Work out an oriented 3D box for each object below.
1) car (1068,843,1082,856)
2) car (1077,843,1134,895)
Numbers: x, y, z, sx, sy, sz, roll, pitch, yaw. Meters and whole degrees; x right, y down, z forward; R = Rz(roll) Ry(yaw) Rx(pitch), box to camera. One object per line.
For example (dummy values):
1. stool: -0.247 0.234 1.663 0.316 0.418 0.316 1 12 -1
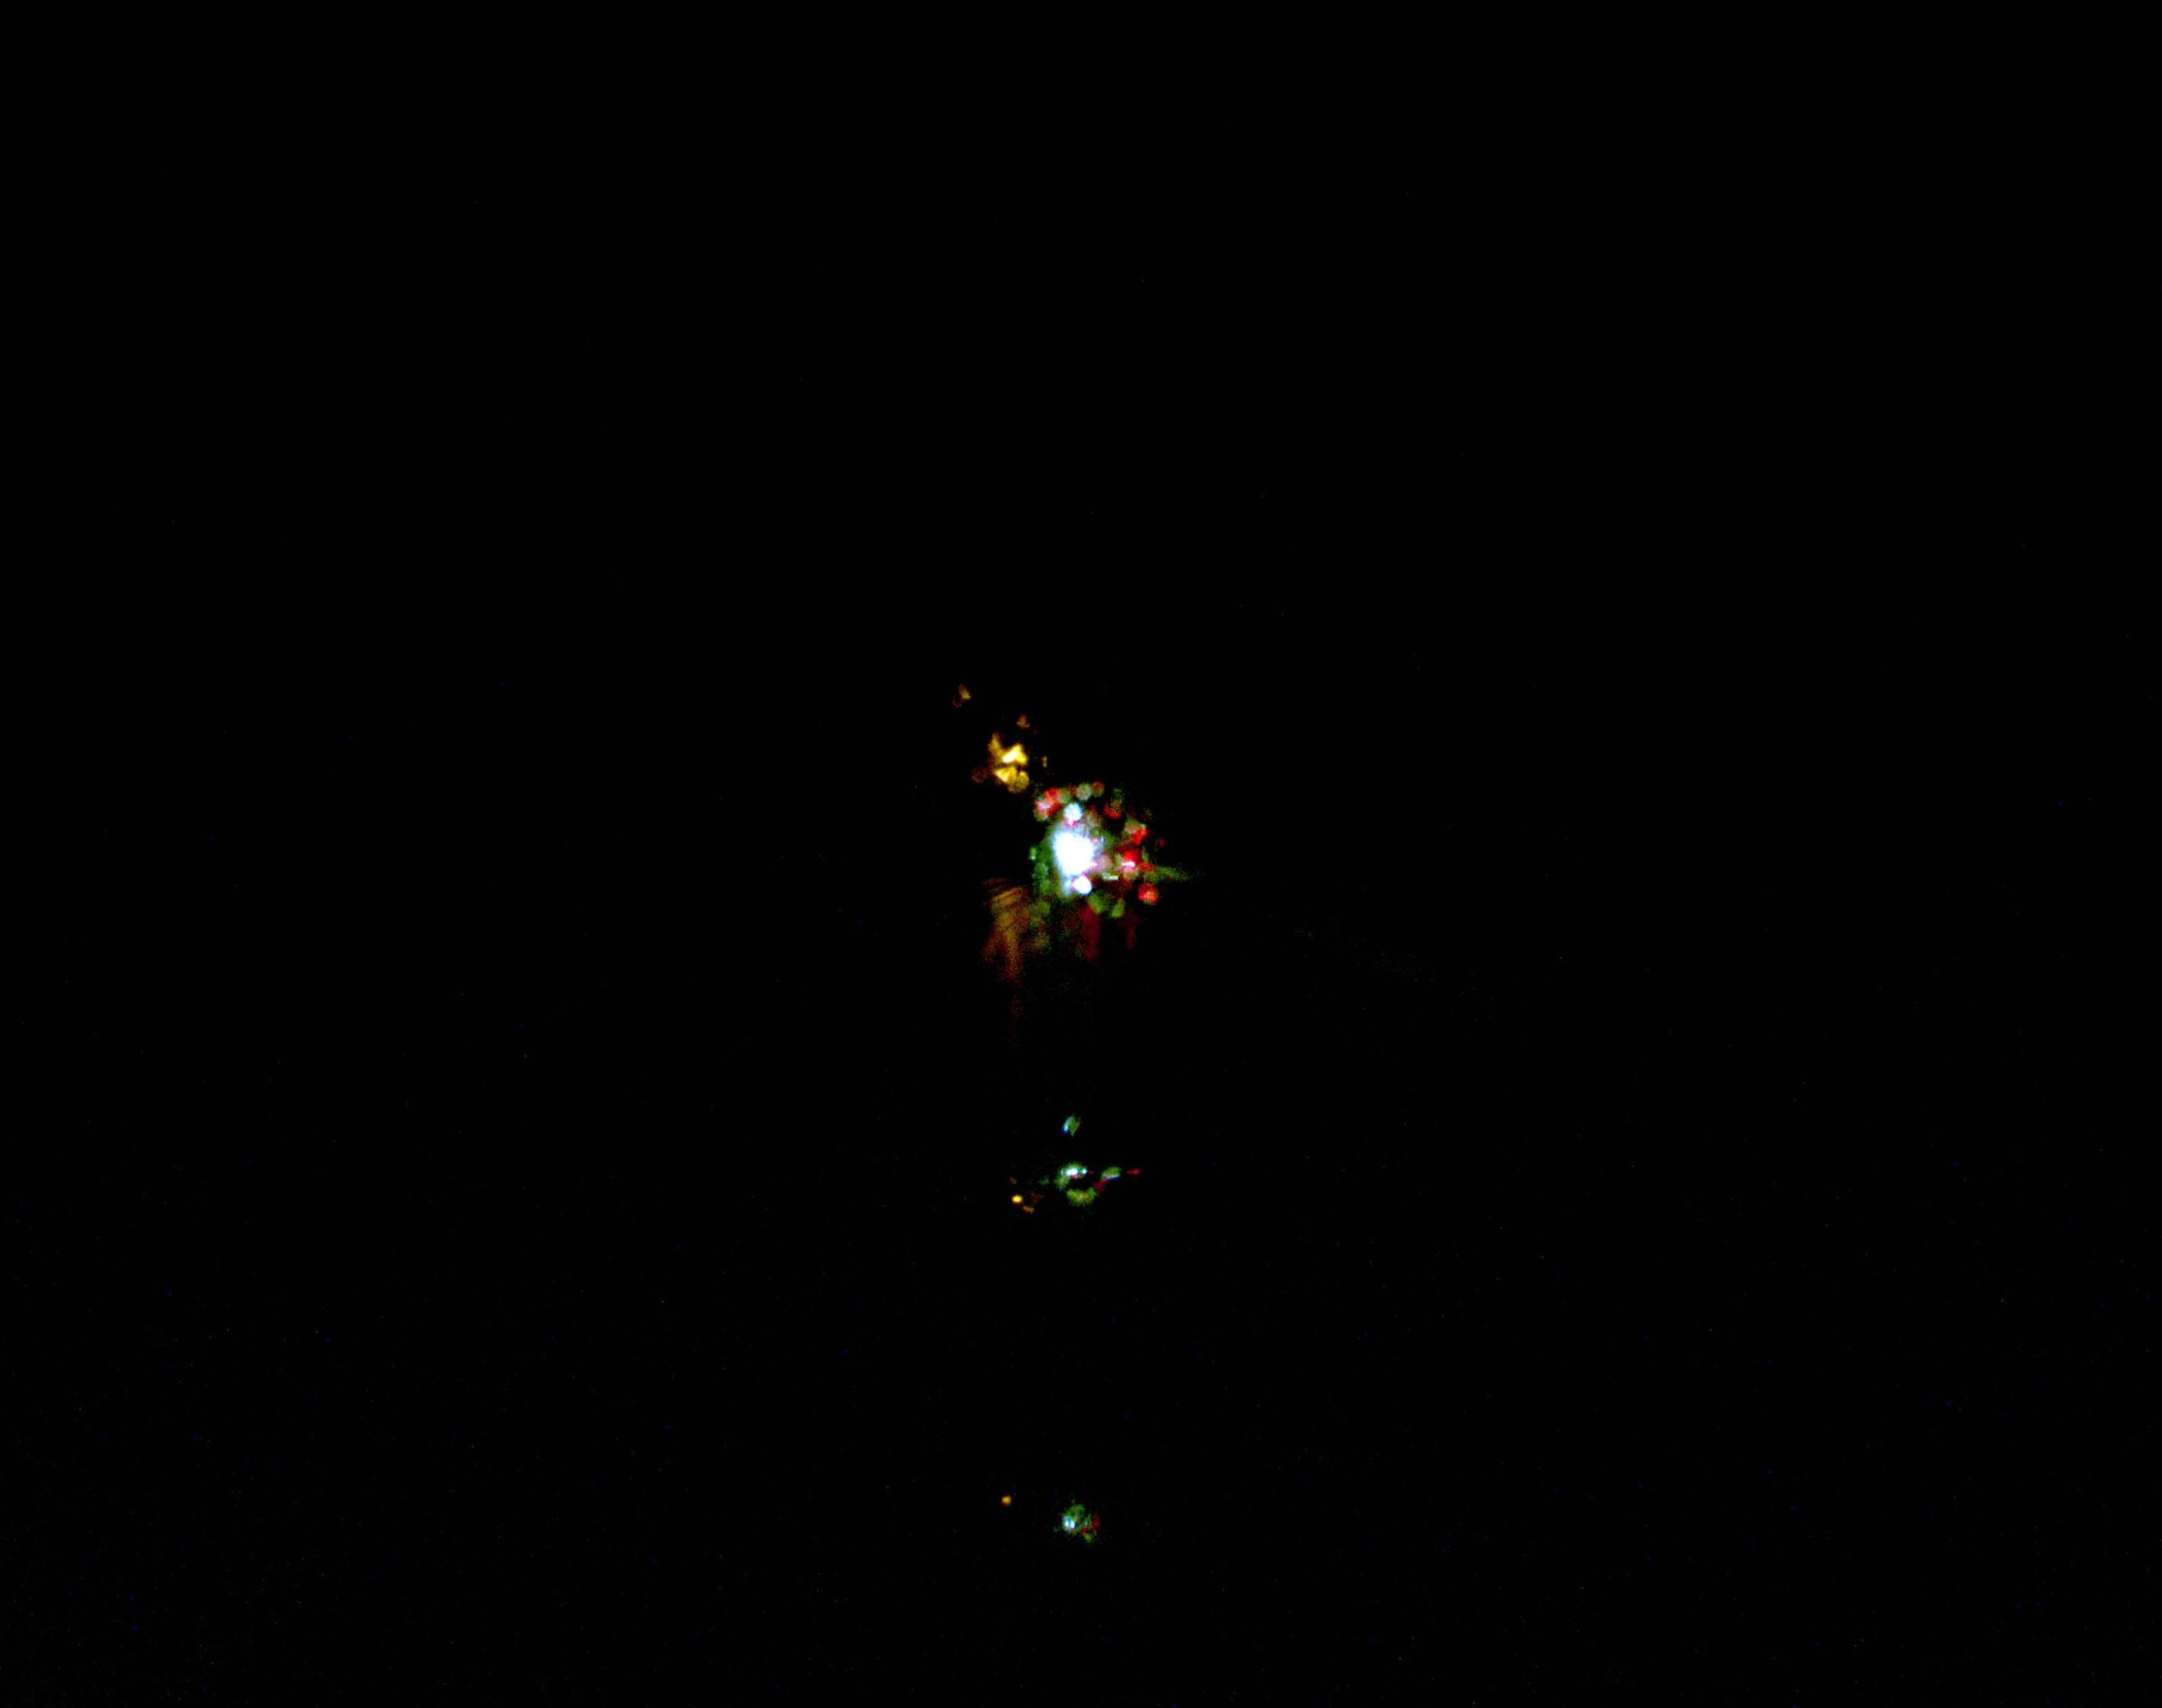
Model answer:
1. car: -0.723 -0.569 104.497 1.726 1.518 4.016 0 0 1
2. car: 0.856 0.492 28.124 1.794 1.628 3.617 1 0 2
